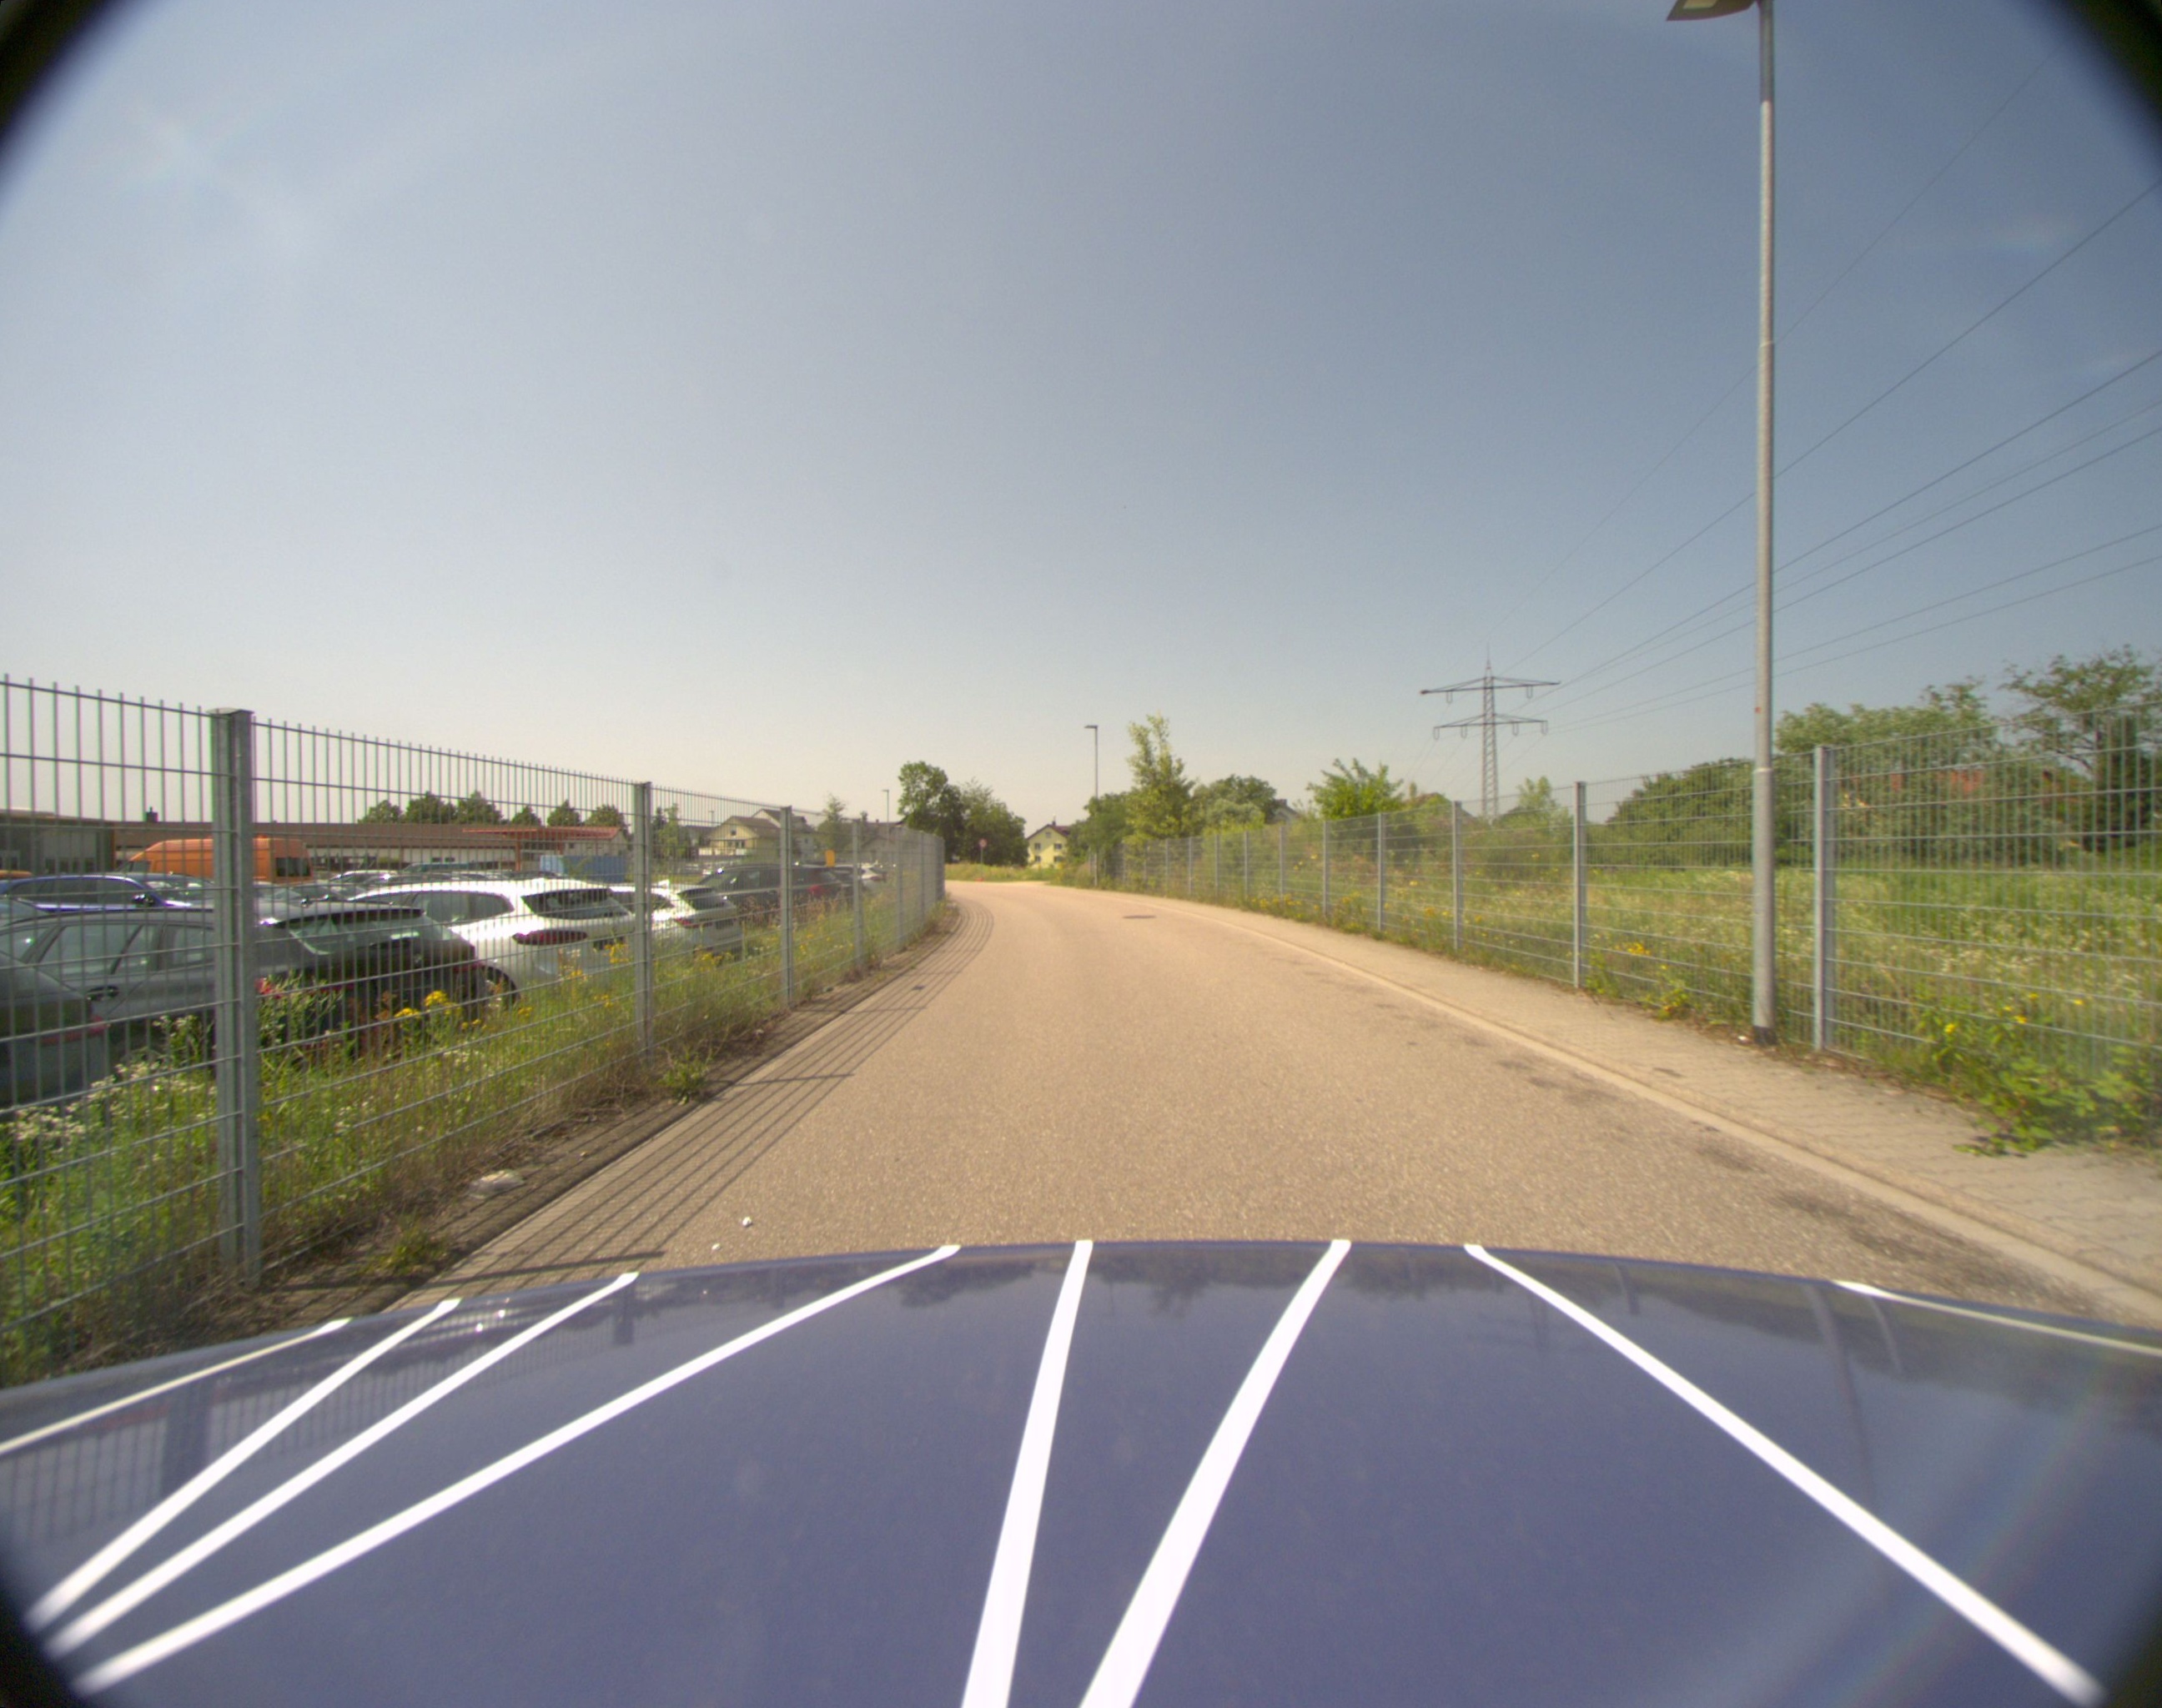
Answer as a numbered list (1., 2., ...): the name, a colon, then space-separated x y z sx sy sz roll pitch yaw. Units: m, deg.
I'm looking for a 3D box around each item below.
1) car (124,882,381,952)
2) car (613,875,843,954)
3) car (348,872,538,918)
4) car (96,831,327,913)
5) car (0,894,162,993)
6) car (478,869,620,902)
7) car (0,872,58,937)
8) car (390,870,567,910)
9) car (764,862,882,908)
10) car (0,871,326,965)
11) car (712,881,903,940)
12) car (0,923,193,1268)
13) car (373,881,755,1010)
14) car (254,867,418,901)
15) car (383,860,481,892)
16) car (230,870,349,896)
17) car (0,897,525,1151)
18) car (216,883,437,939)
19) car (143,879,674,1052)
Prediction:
1. car: -19.136 1.416 17.744 3.775 1.428 1.610 0 0 -15
2. car: -7.734 1.295 16.979 4.292 1.627 1.764 0 0 -3
3. car: -21.207 1.333 25.460 4.578 1.424 1.660 0 -1 -15
4. car: -28.674 0.575 25.275 4.749 2.569 1.978 0 0 -15
5. car: -17.723 1.413 12.042 3.775 1.428 1.610 0 0 -15
6. car: -23.258 1.360 33.423 4.762 1.344 1.819 0 -1 -15
7. car: -26.497 1.162 17.186 3.832 1.453 1.587 0 0 -15
8. car: -21.964 1.281 27.912 4.762 1.344 1.819 0 -1 -15
9. car: -9.776 1.159 29.060 4.138 1.660 1.721 0 0 -17
10. car: -18.099 1.182 14.826 4.477 1.639 1.876 0 0 -11
11. car: -6.897 1.406 19.511 4.293 1.370 1.764 0 -1 -3
12. car: -6.858 1.145 2.923 4.521 1.398 1.838 -2 1 -2
13. car: -7.327 1.262 11.149 4.221 1.398 1.838 -3 1 -2
14. car: -29.995 1.189 30.750 4.392 1.262 1.819 0 -1 -15
15. car: -41.195 1.388 48.348 4.392 1.970 1.840 0 0 -15
16. car: -45.579 1.652 43.864 4.392 1.369 1.840 0 -1 -15
17. car: -7.011 1.202 5.777 4.219 1.398 1.839 -3 1 4
18. car: -19.441 1.442 19.760 3.775 1.294 1.610 0 -1 -15
19. car: -7.083 1.133 8.305 4.219 1.398 1.839 -3 1 4
